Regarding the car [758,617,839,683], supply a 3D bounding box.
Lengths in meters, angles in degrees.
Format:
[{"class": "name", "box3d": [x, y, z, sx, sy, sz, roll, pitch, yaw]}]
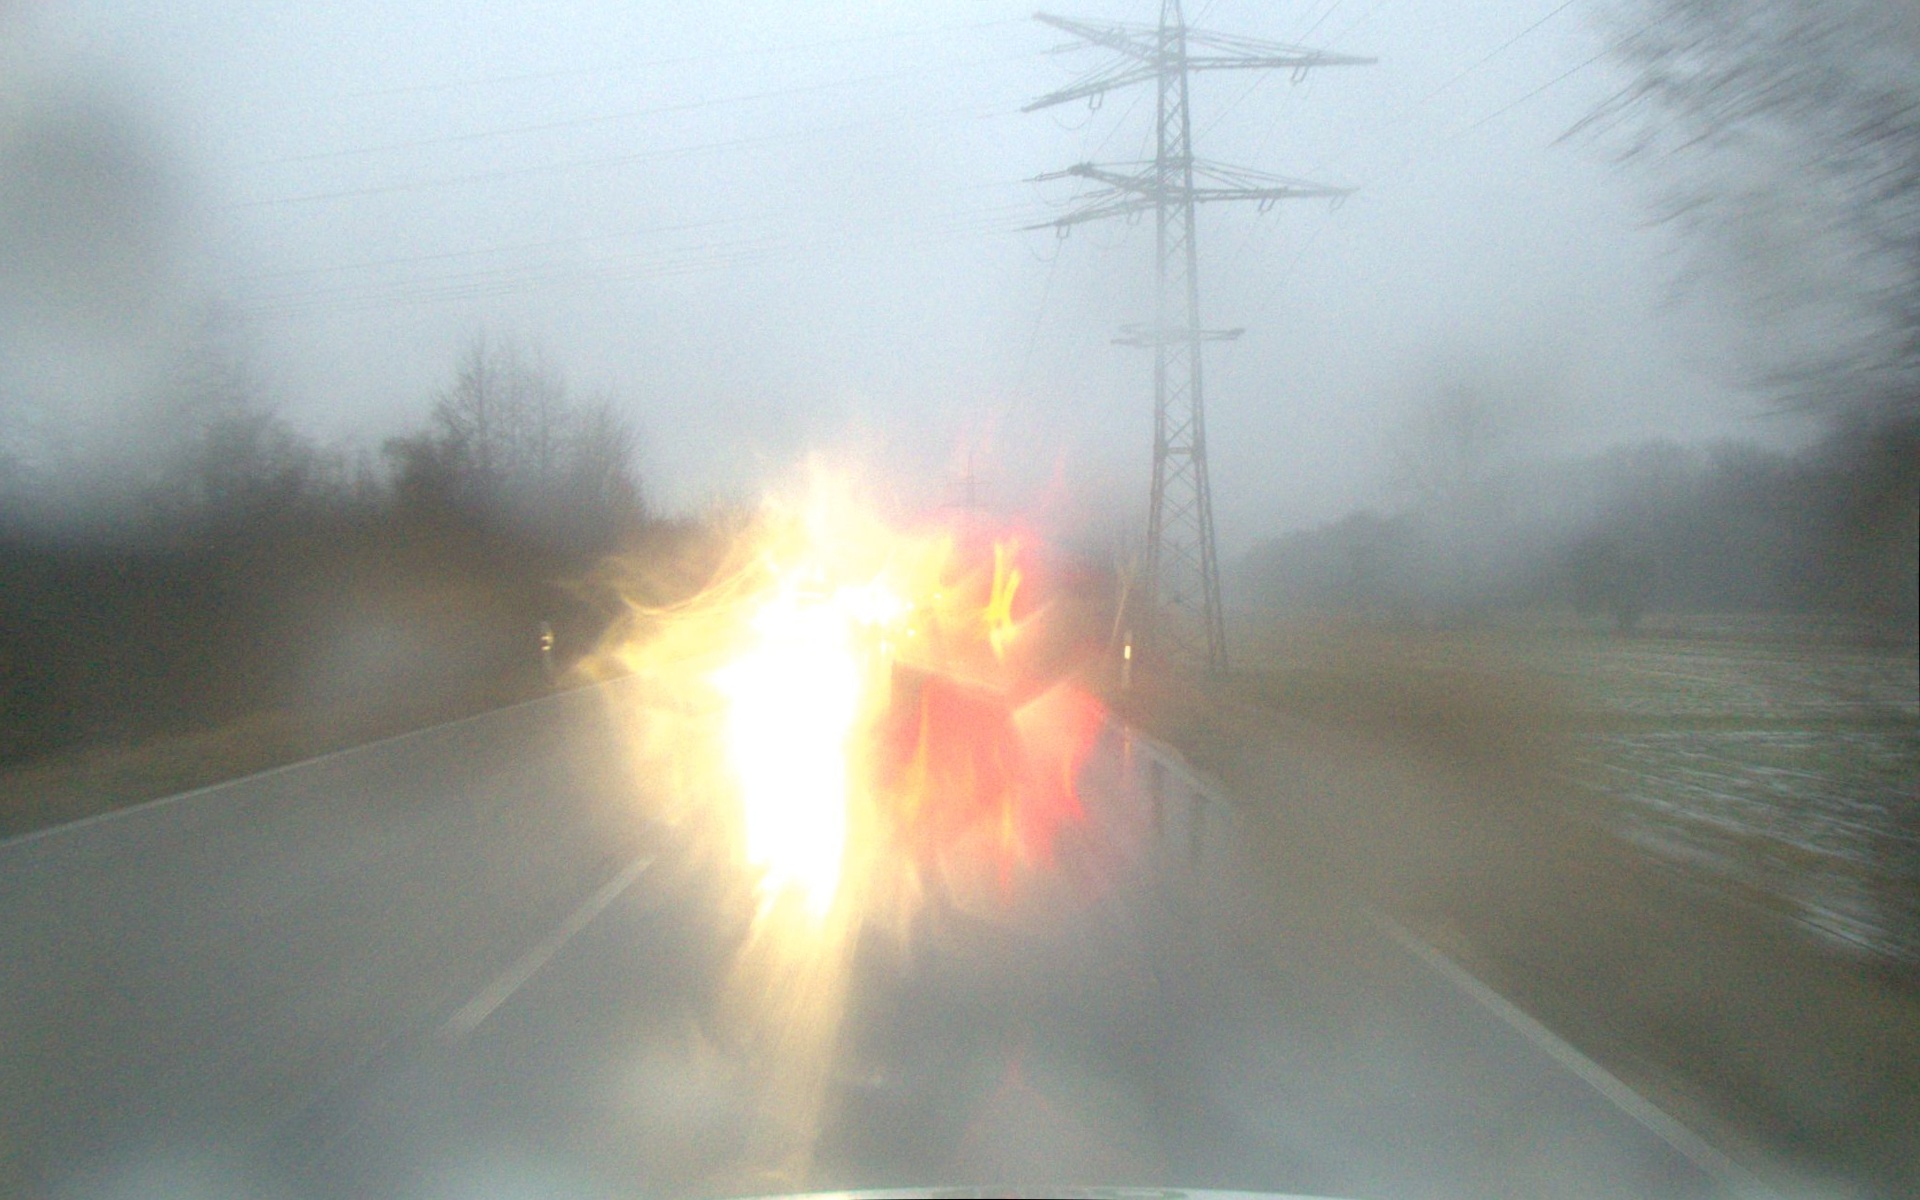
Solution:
[{"class": "car", "box3d": [-4.365, 1.335, 45.296, 1.771, 1.563, 4.407, 4, 0, -1]}]

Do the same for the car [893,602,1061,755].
[{"class": "car", "box3d": [0.162, 0.925, 21.367, 1.953, 1.783, 3.999, 0, 0, -1]}]

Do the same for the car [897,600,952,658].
[{"class": "car", "box3d": [-1.309, 1.036, 61.458, 1.953, 2.049, 3.999, -1, 0, -1]}]
